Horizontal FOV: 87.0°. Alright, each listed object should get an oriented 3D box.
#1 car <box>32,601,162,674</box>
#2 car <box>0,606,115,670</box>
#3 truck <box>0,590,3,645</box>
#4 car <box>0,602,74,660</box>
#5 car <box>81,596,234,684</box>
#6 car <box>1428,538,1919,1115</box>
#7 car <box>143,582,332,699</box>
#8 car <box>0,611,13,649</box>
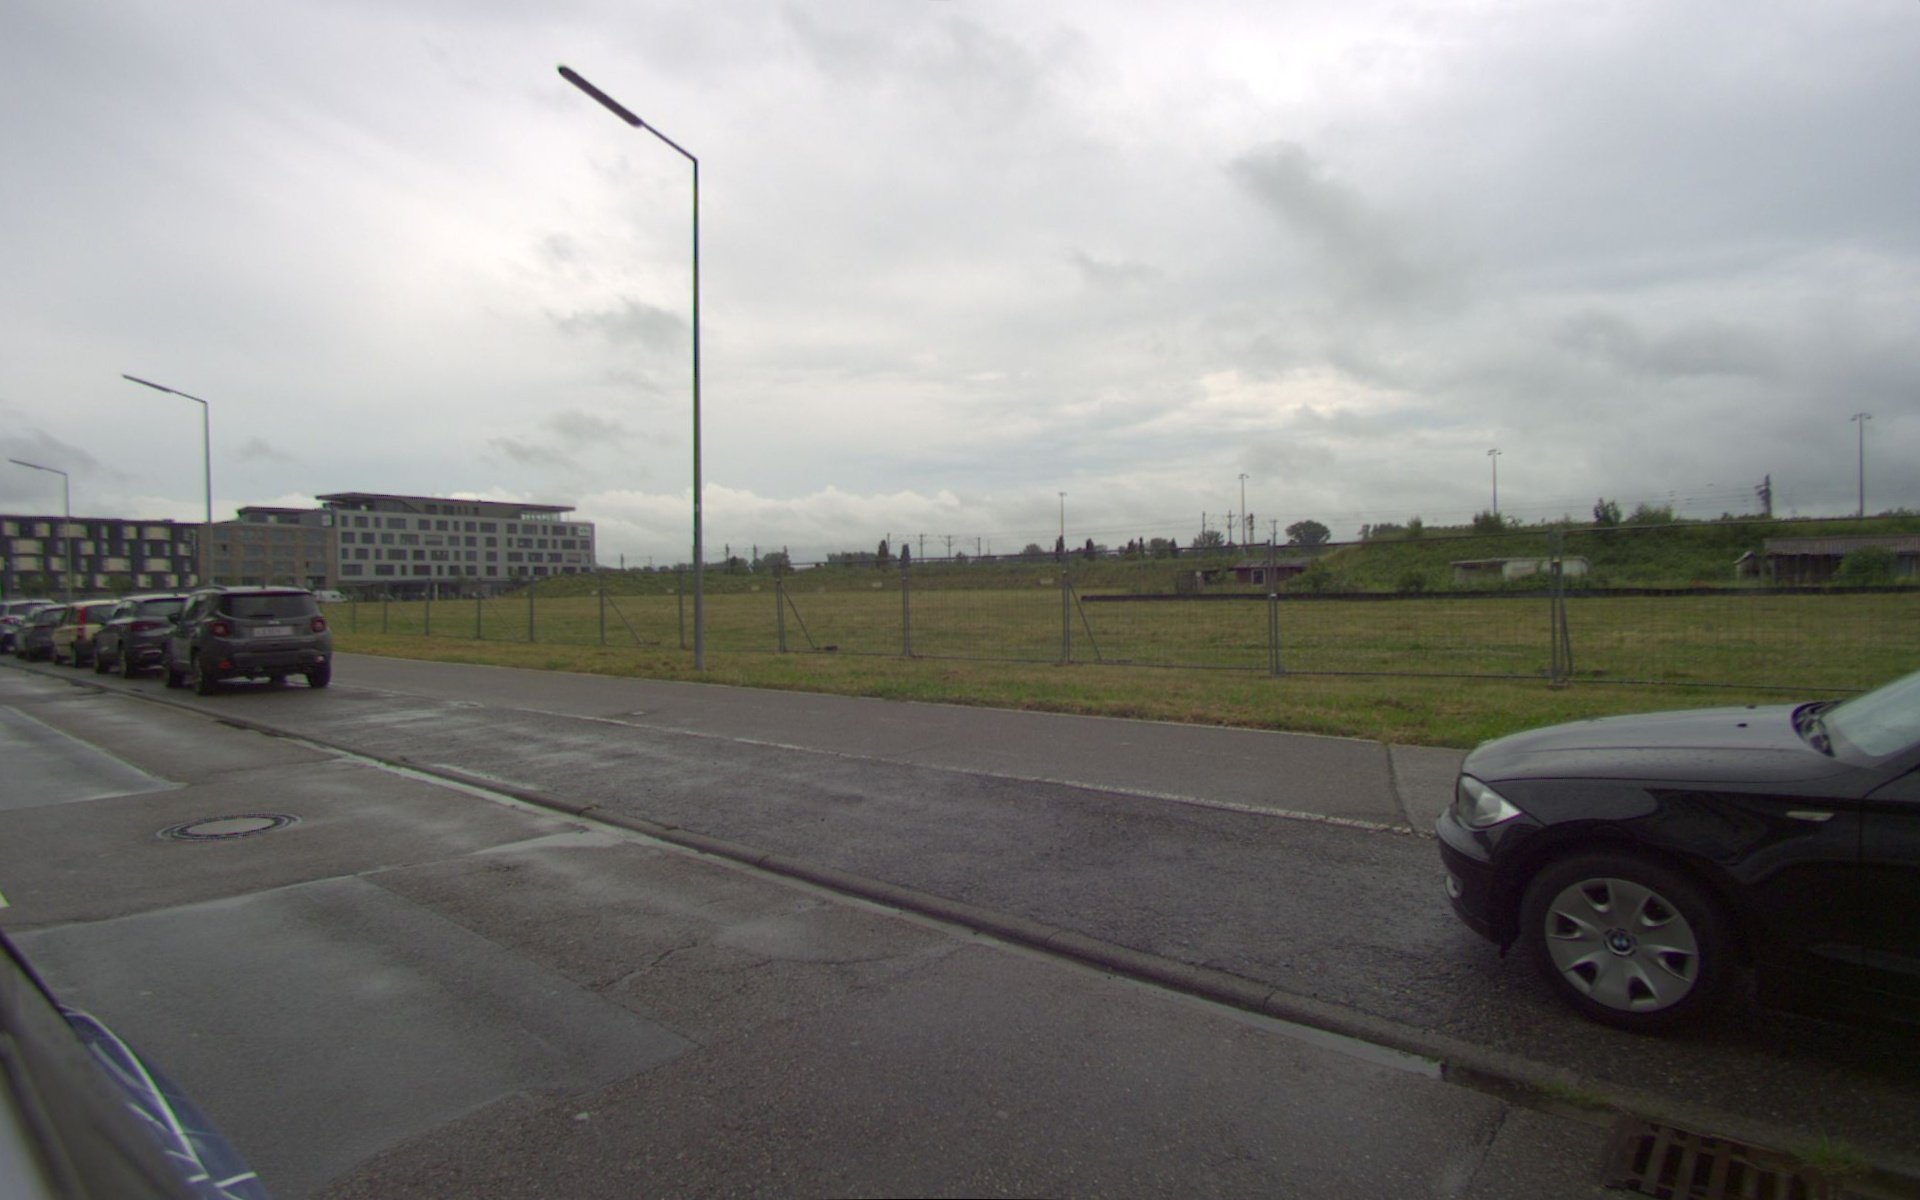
[{"bbox_3d":[-21.192,0.854,24.797,4.207,1.587,1.708,0,1,40],"label":"car"},{"bbox_3d":[-25.247,0.990,28.230,4.669,1.540,1.819,0,3,41],"label":"car"},{"bbox_3d":[-45.963,0.543,46.272,6.695,3.091,2.411,-1,2,41],"label":"truck"},{"bbox_3d":[-30.201,0.971,32.481,4.985,1.619,1.834,-1,3,40],"label":"car"},{"bbox_3d":[-16.575,0.773,20.838,4.131,1.602,1.735,-1,0,41],"label":"car"},{"bbox_3d":[3.848,0.583,2.948,4.150,1.572,1.828,-1,3,41],"label":"car"},{"bbox_3d":[-12.455,0.631,17.305,4.882,1.705,1.733,-1,0,44],"label":"car"},{"bbox_3d":[-39.906,1.221,41.122,4.154,1.474,1.655,-1,0,41],"label":"car"}]
